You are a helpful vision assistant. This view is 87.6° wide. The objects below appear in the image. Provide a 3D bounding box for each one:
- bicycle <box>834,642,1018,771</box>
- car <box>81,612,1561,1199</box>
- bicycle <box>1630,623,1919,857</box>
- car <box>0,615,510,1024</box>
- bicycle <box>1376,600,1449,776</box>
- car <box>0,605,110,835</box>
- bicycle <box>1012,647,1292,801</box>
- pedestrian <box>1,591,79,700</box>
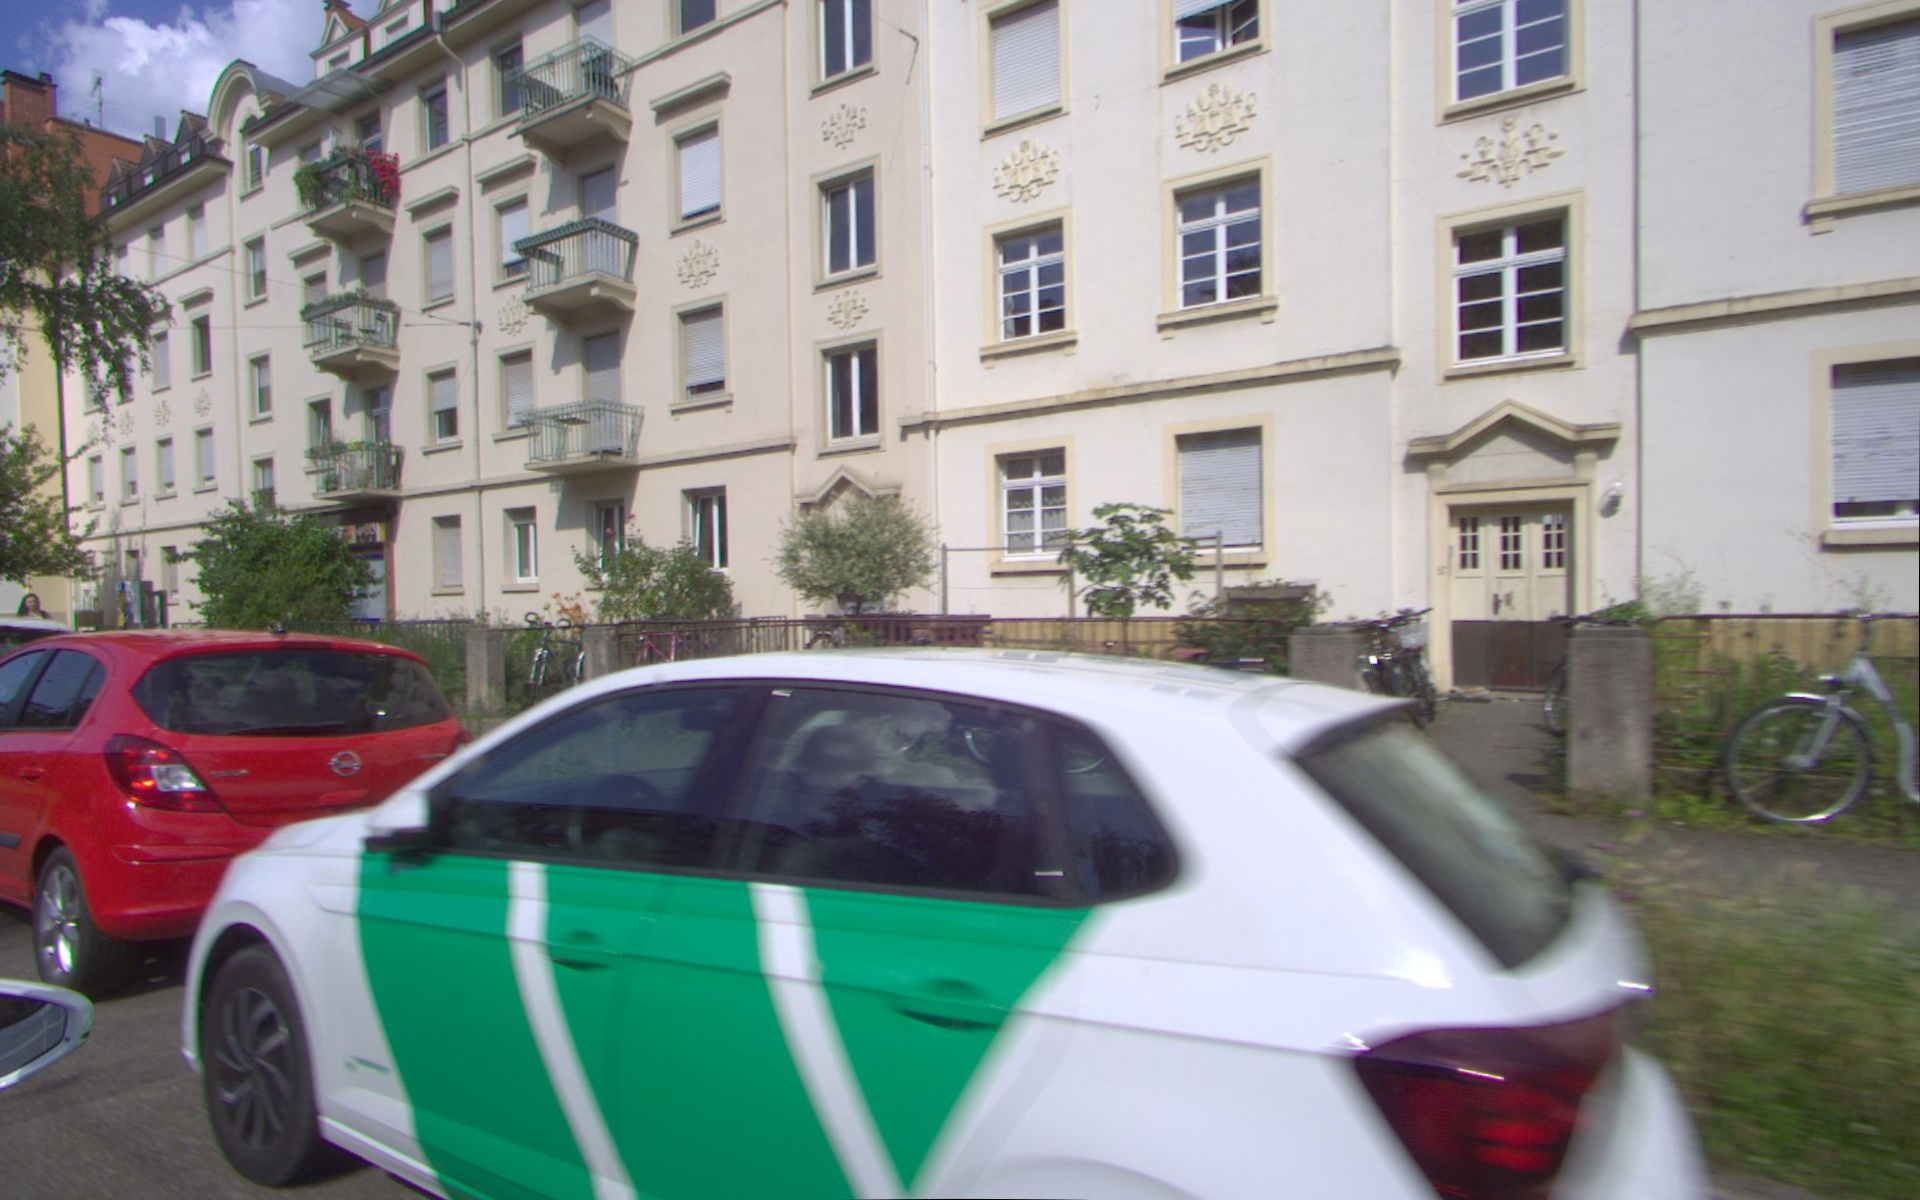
[{"bbox_3d":[-0.305,0.836,8.227,1.563,0.951,0.386,-1,1,32],"label":"bicycle"},{"bbox_3d":[-0.611,0.803,2.746,3.861,1.471,1.617,-1,-2,31],"label":"car"},{"bbox_3d":[4.634,0.672,4.984,2.153,1.092,0.470,-1,1,34],"label":"bicycle"},{"bbox_3d":[-4.270,0.863,5.332,3.790,1.470,1.587,-1,-3,33],"label":"car"},{"bbox_3d":[3.537,0.606,7.800,0.457,1.198,1.840,0,0,25],"label":"bicycle"},{"bbox_3d":[-8.337,0.855,7.821,3.704,1.599,1.491,-1,-2,31],"label":"car"},{"bbox_3d":[1.333,0.843,7.215,1.980,0.956,0.377,-1,1,32],"label":"bicycle"},{"bbox_3d":[-14.961,0.718,16.282,0.681,1.706,0.727,0,3,36],"label":"pedestrian"}]
